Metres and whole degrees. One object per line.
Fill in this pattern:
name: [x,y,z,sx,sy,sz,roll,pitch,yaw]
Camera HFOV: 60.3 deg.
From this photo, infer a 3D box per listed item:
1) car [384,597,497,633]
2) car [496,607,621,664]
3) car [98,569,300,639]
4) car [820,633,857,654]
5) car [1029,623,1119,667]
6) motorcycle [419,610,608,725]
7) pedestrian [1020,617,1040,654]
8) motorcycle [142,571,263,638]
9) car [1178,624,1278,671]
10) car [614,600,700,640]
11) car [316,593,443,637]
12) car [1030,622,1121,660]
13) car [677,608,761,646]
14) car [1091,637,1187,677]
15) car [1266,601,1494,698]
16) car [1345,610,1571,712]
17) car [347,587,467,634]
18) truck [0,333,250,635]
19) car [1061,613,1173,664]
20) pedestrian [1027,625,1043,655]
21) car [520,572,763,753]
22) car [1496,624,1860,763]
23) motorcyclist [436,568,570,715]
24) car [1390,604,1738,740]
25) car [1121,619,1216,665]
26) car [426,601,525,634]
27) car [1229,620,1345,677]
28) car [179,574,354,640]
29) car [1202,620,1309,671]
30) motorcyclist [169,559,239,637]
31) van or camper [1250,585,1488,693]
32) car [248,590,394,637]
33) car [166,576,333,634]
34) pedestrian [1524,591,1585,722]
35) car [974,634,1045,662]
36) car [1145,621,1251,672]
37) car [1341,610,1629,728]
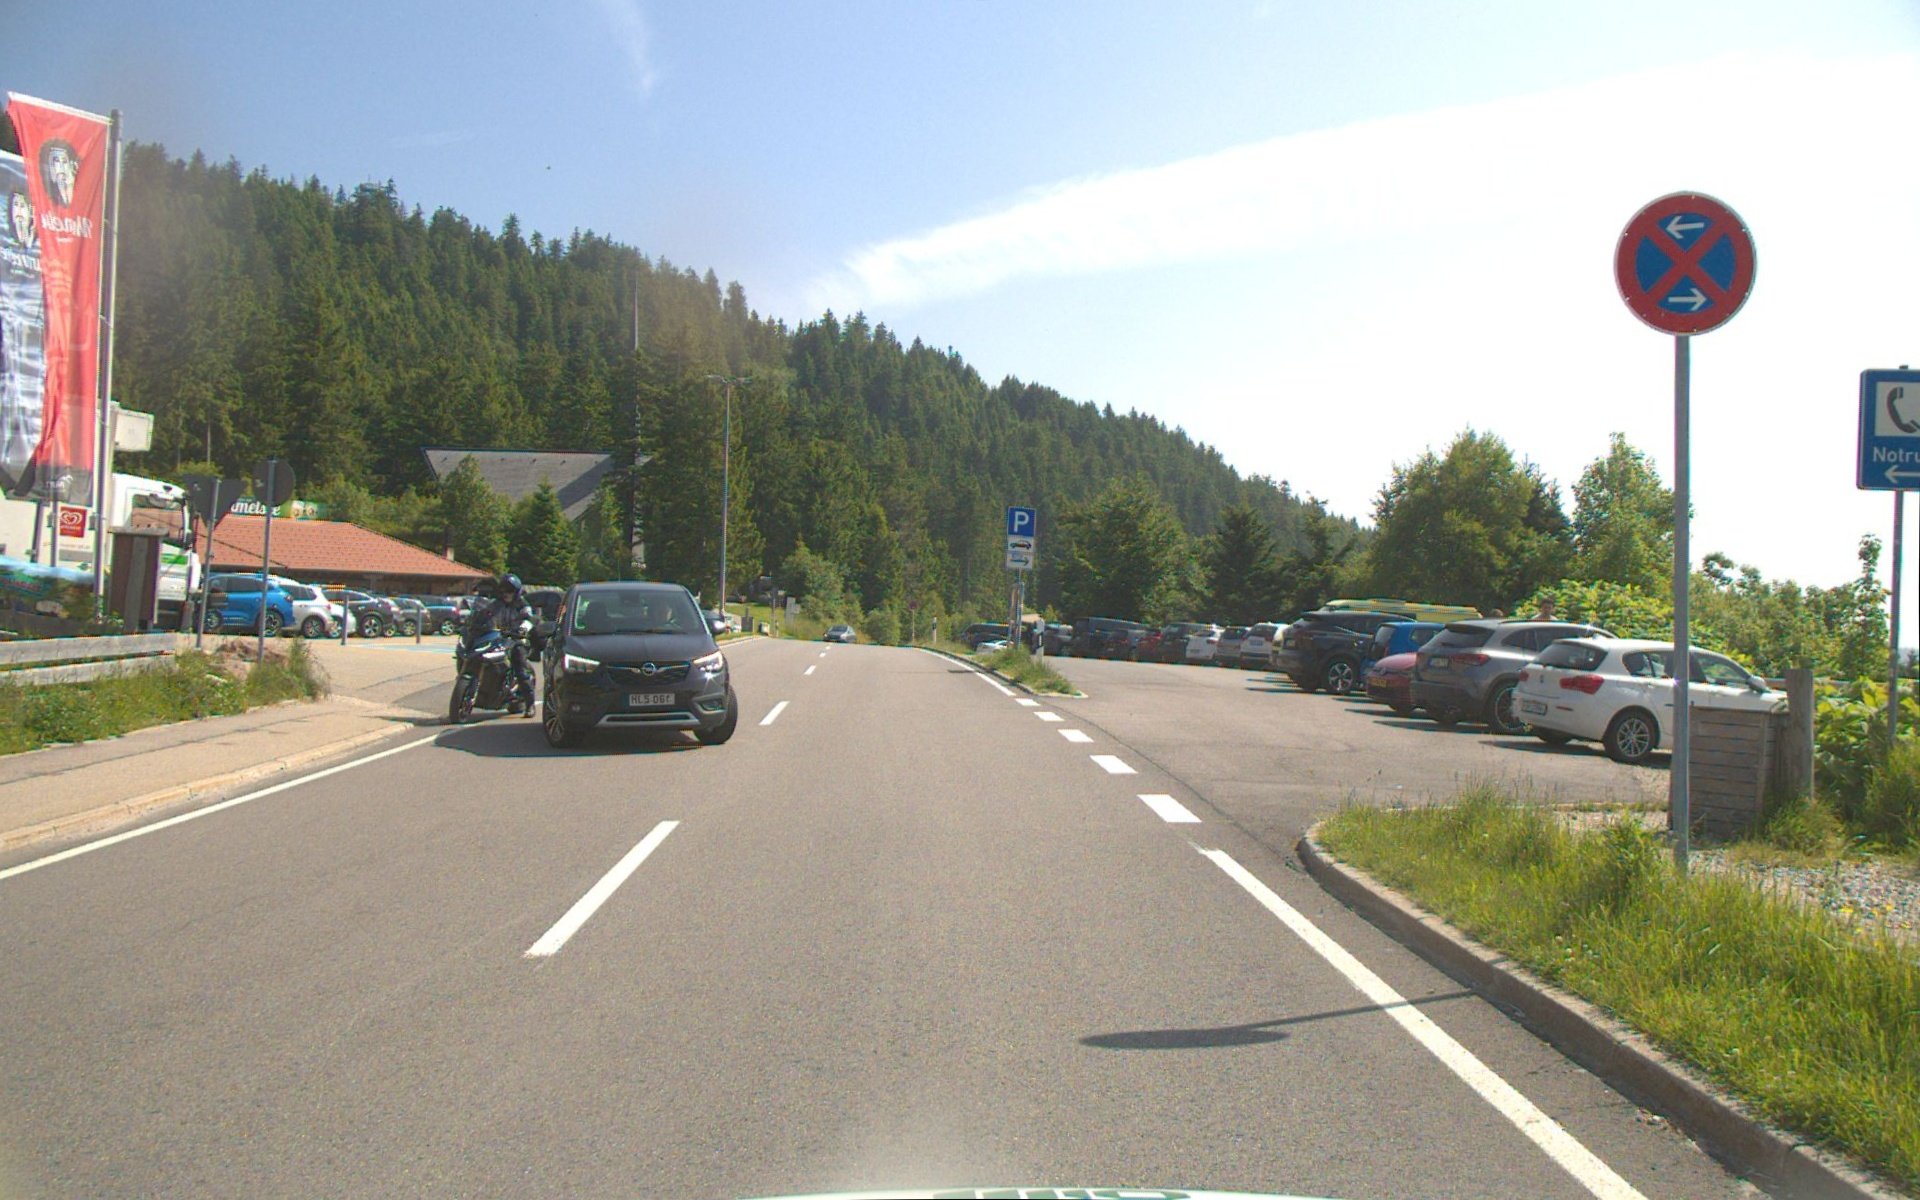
car: [-20.921,0.621,66.710,3.965,1.395,1.785,1,0,-42]
car: [-12.196,1.046,50.094,1.794,1.567,4.123,1,0,-45]
car: [-20.293,0.120,44.243,1.904,1.693,4.519,1,-1,41]
car: [-9.138,3.267,124.267,1.547,1.454,3.373,1,0,19]
car: [5.696,2.260,82.414,3.946,1.690,1.980,9,-4,-30]
motorcycle: [-5.297,0.764,19.789,0.796,1.287,2.323,1,0,29]
pedestrian: [3.525,1.779,82.935,0.571,1.791,0.629,3,-4,44]
motorcycle: [-18.120,0.112,39.615,2.417,1.431,0.993,5,-2,-36]
car: [10.585,1.896,65.201,3.964,1.501,1.742,6,-2,-41]
car: [-12.722,0.825,69.355,1.768,1.579,3.939,2,-1,-42]
car: [-21.026,0.550,60.046,1.685,1.512,4.056,1,0,41]
car: [5.554,1.952,79.437,3.936,1.468,1.826,6,-2,-25]
car: [-11.137,1.246,76.294,3.989,1.595,1.729,1,-2,43]
car: [7.941,2.531,73.337,3.946,1.439,1.727,6,-2,-31]
car: [8.295,0.961,32.837,3.913,1.641,1.913,4,-1,-9]
car: [9.030,1.090,30.159,3.510,1.521,1.647,5,0,-2]
car: [-21.061,0.420,63.057,3.968,1.733,1.797,1,0,-44]
truck: [-14.993,-1.813,23.218,3.008,4.041,8.742,4,-1,34]
car: [7.243,1.774,76.341,4.693,1.912,1.953,6,-2,-23]
pedestrian: [3.681,1.969,80.814,0.757,1.427,0.669,1,0,3]
car: [-3.465,0.561,17.359,1.950,1.645,4.126,0,0,-19]
car: [8.940,1.154,20.685,3.918,1.409,1.652,4,-1,-13]
motorcyclist: [-5.399,0.473,19.595,0.862,1.670,1.297,0,0,29]
car: [8.639,1.019,23.754,4.323,1.595,1.901,4,0,-14]
car: [8.967,1.819,71.074,3.964,1.617,1.836,6,-2,-41]
car: [-22.063,0.790,75.370,1.873,1.445,3.976,0,-1,41]
car: [11.641,1.743,58.748,4.189,1.724,1.836,5,-2,-41]
car: [-20.868,0.211,49.895,1.804,1.896,4.499,1,0,44]
car: [11.152,1.732,62.284,3.964,1.576,1.794,6,-2,-41]
motorcyclist: [-18.119,-0.054,39.629,1.234,1.750,1.051,5,-2,-35]
van or camper: [9.552,0.896,38.885,4.988,2.048,1.882,5,0,-1]
car: [-20.595,0.445,53.403,1.879,1.455,3.977,1,0,41]
car: [-20.352,0.166,47.469,1.965,1.573,3.974,1,0,43]
pedestrian: [9.091,0.864,25.323,0.596,1.933,0.679,4,-1,3]
car: [3.331,3.235,111.311,4.389,1.321,1.573,8,-2,-20]
car: [9.742,1.918,67.569,4.235,1.724,1.961,6,-2,-41]
car: [8.299,1.073,26.261,3.918,1.536,1.836,4,0,-13]
